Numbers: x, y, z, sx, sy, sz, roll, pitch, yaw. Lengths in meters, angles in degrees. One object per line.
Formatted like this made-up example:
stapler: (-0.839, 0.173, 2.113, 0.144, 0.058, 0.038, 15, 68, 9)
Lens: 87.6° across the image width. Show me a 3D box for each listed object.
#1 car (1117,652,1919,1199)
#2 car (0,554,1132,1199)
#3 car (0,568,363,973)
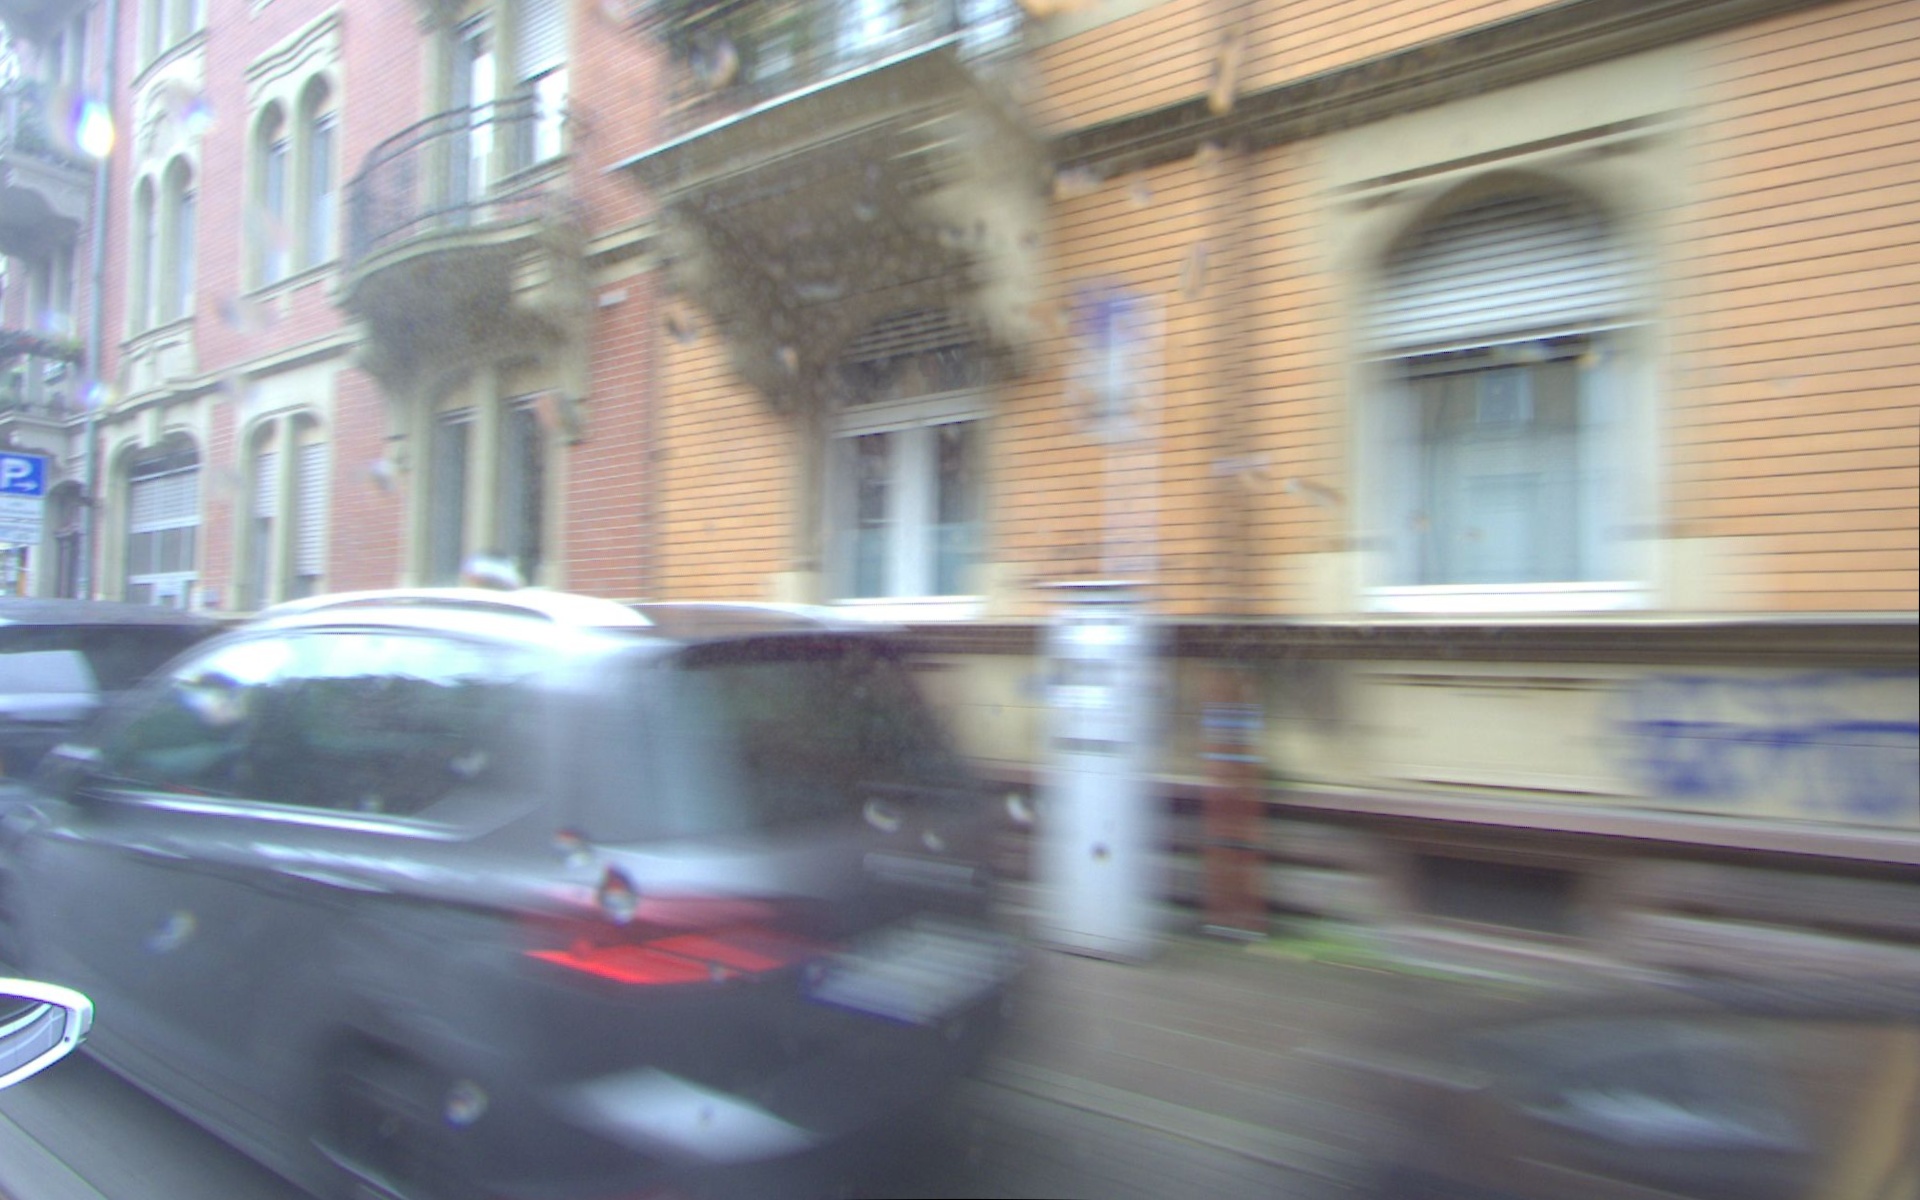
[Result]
car: (2.495, 0.749, 0.559, 4.423, 1.484, 1.784, -3, -5, 34)
car: (-1.762, 0.787, 3.468, 4.285, 1.581, 1.868, -1, -2, 34)
car: (-6.007, 0.827, 6.214, 4.757, 1.801, 1.991, -1, -3, 32)
